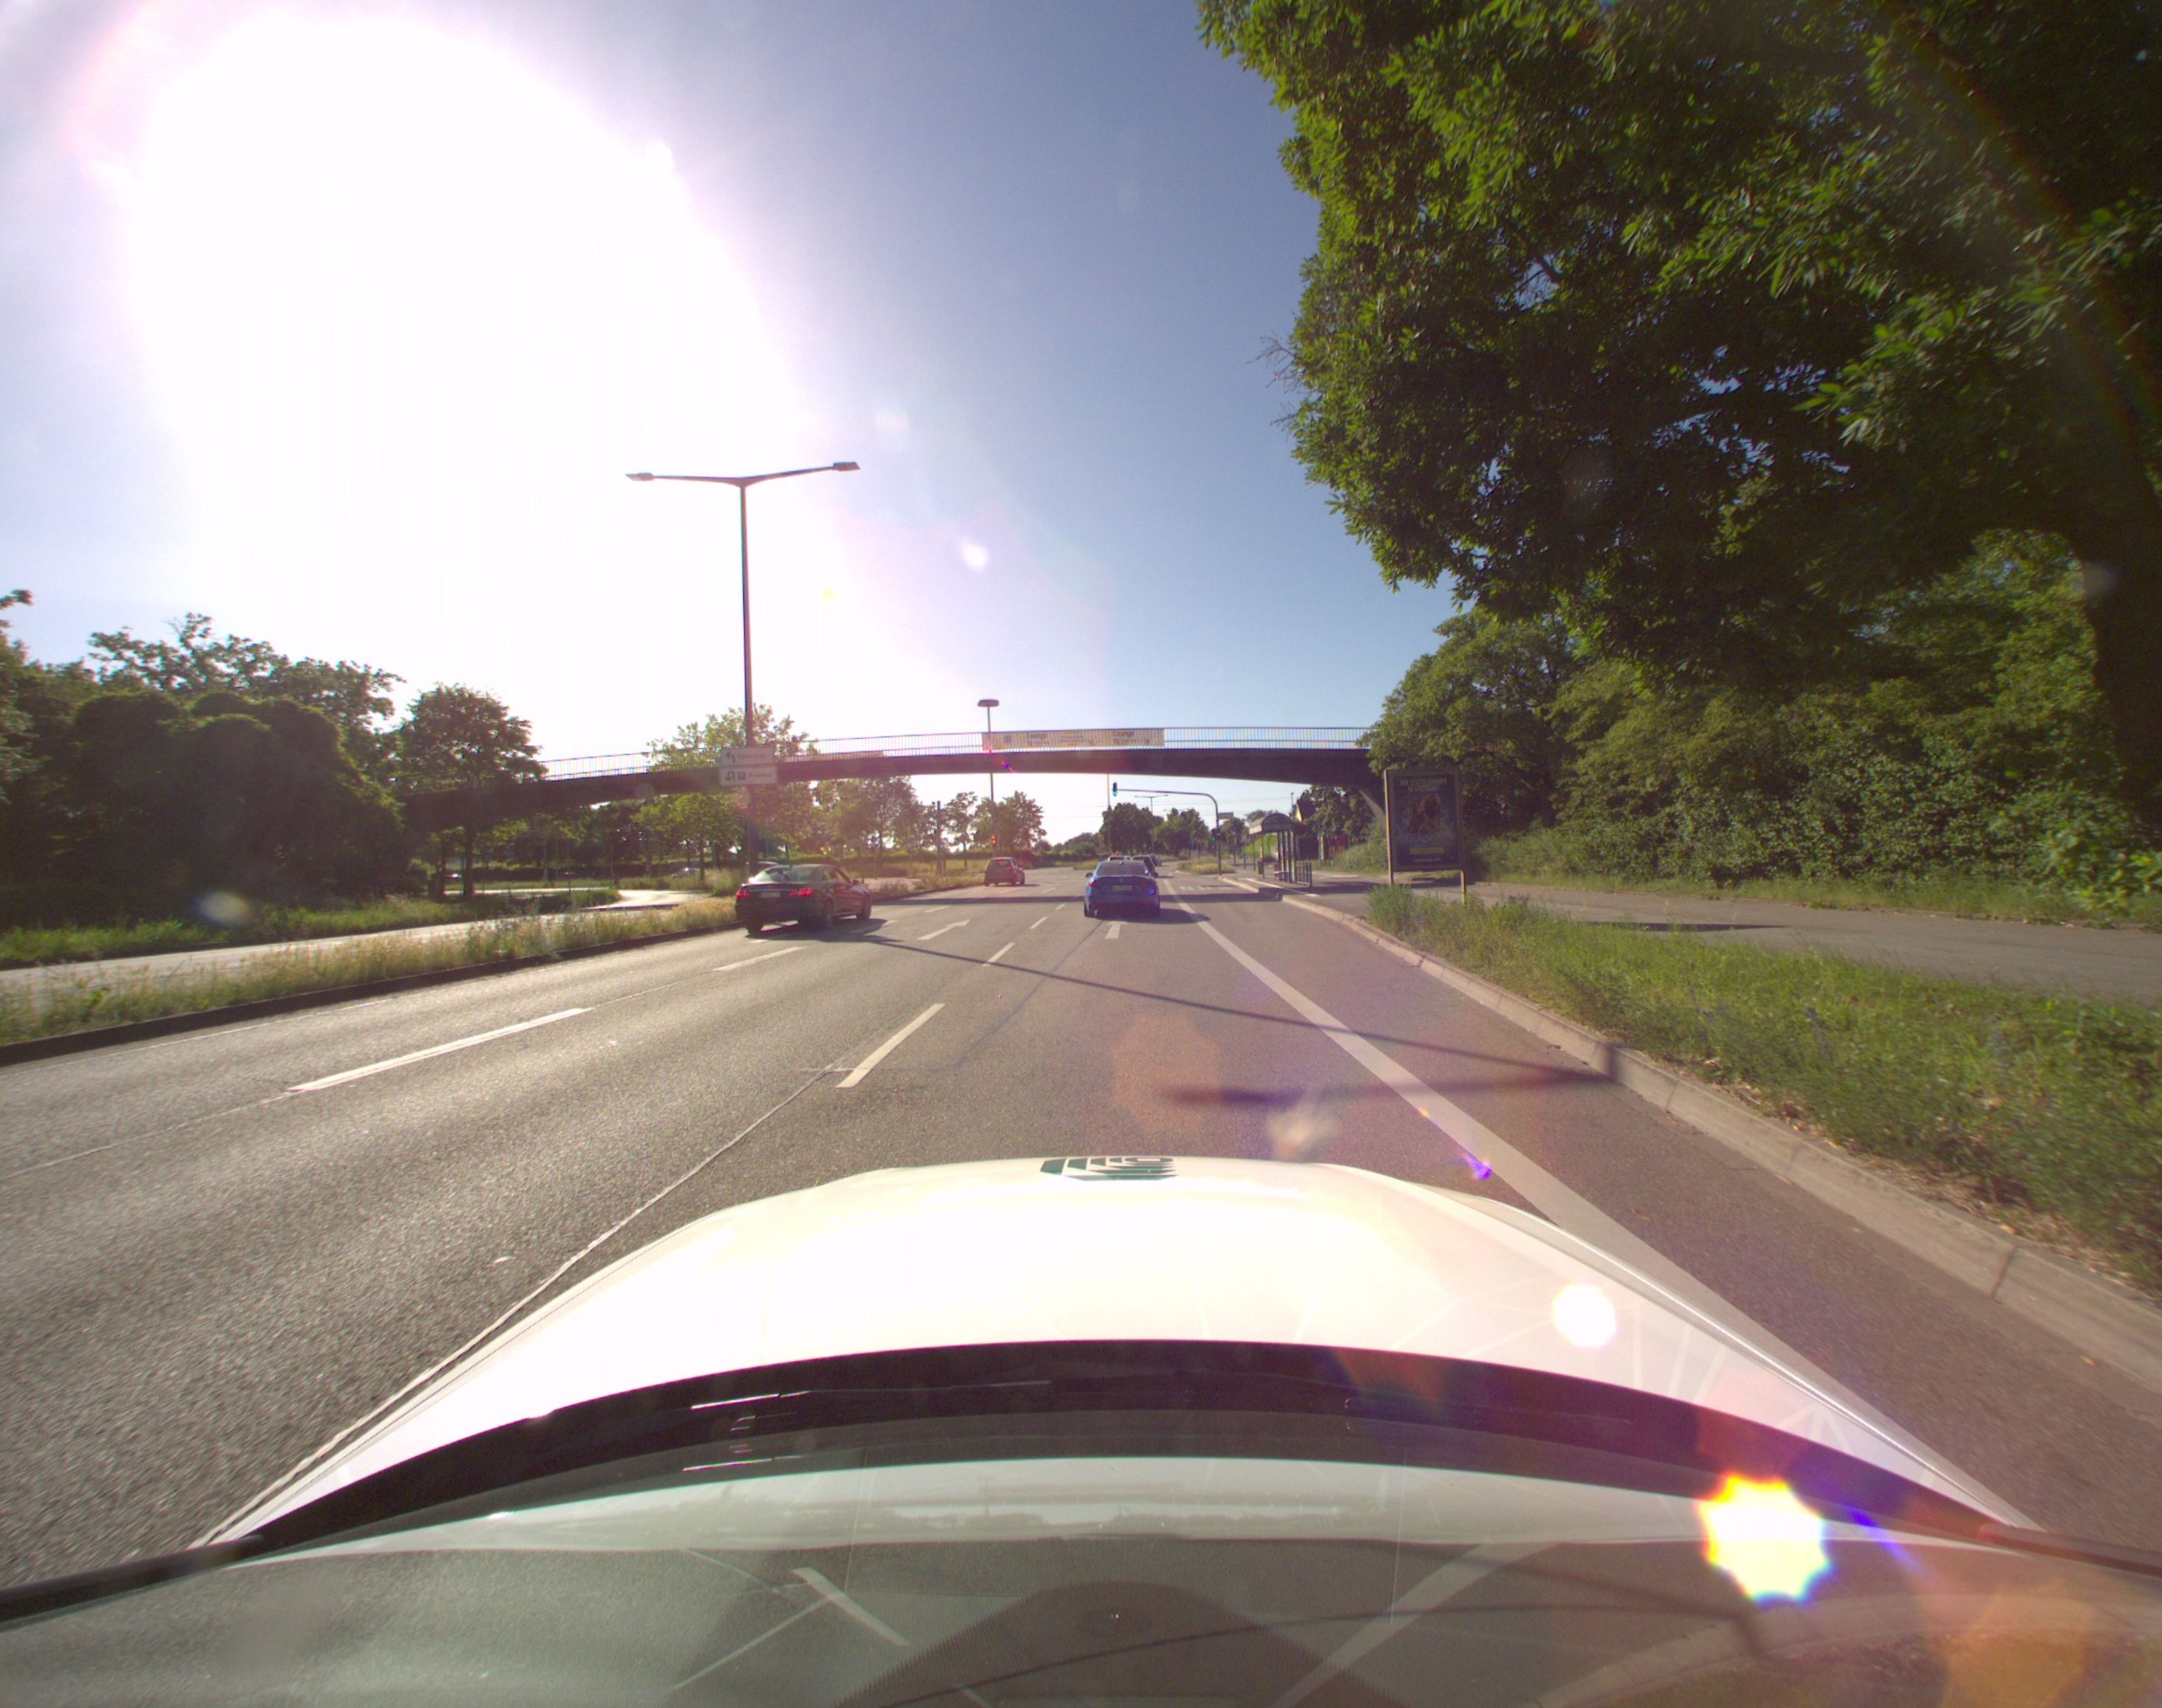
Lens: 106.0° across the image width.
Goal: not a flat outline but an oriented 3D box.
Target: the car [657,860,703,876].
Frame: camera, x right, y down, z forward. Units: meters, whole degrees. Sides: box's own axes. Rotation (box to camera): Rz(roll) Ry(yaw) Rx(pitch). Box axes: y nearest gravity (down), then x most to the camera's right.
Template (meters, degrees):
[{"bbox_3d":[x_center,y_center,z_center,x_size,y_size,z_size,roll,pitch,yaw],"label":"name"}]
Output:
[{"bbox_3d":[-51.245,1.761,104.135,4.770,2.014,2.000,-1,-1,0],"label":"car"}]

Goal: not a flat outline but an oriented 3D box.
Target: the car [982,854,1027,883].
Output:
[{"bbox_3d":[-4.265,0.823,46.057,1.788,1.556,3.736,-1,-1,6],"label":"car"}]

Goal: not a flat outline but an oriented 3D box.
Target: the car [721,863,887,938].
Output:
[{"bbox_3d":[-6.407,0.996,19.534,1.950,1.483,4.923,-2,0,4],"label":"car"}]

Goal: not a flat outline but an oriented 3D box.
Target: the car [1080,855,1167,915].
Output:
[{"bbox_3d":[1.012,0.763,21.536,1.878,1.406,4.220,-1,-1,-2],"label":"car"}]

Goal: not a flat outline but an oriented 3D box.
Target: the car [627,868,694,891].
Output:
[{"bbox_3d":[-31.299,1.888,60.629,4.272,1.650,2.009,-1,-1,17],"label":"car"}]

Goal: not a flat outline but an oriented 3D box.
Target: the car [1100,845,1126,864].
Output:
[{"bbox_3d":[2.750,0.053,70.067,1.705,1.598,4.216,-1,-1,-5],"label":"car"}]

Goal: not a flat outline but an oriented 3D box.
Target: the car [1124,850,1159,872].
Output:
[{"bbox_3d":[4.104,0.484,55.782,1.878,1.454,4.522,-1,-1,-2],"label":"car"}]
